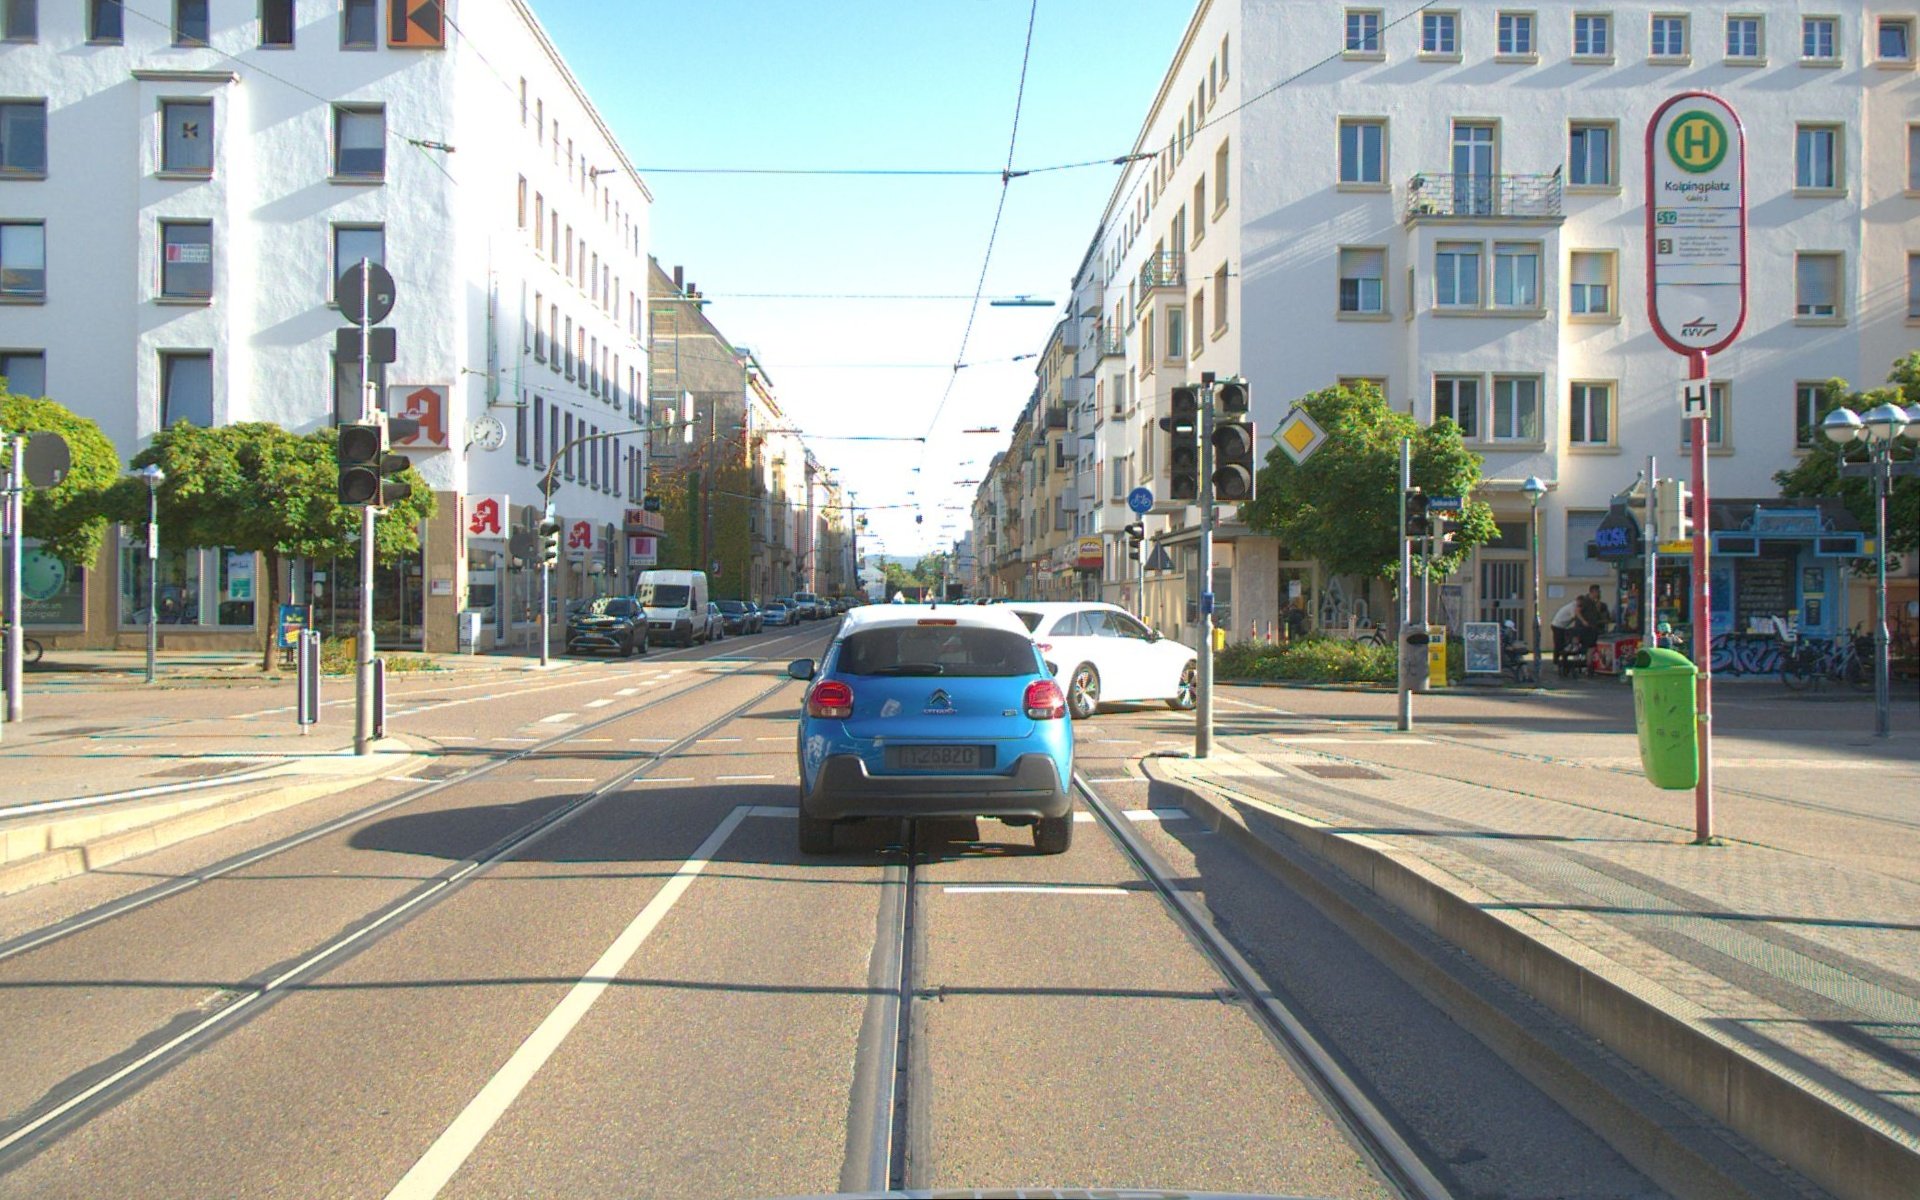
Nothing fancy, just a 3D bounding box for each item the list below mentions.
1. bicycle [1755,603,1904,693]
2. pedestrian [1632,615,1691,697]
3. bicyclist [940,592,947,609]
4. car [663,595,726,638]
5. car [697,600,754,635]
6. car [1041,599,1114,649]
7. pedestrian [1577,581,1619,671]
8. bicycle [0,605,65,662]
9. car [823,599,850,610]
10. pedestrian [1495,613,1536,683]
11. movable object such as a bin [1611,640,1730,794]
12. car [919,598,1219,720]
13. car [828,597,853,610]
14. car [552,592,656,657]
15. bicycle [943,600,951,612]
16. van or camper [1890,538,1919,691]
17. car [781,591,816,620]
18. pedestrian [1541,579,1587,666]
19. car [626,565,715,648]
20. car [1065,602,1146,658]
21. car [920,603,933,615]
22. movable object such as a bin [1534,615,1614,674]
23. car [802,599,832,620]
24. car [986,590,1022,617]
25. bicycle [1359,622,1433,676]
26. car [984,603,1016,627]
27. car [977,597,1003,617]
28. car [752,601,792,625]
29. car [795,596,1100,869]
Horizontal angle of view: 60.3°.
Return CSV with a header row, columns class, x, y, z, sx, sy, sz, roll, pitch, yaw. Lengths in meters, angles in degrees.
class,x,y,z,sx,sy,sz,roll,pitch,yaw
bicycle,15.961,0.869,30.381,2.336,1.558,0.726,2,0,-2
pedestrian,12.840,1.025,30.288,0.715,1.434,0.755,0,3,-1
bicyclist,-1.884,0.070,192.707,0.793,2.049,0.922,1,-1,0
car,-10.008,0.618,62.560,1.850,1.522,3.560,1,-1,-2
car,-10.058,0.766,71.245,1.953,1.422,4.155,1,-1,-2
car,3.593,0.725,51.061,1.953,1.490,4.000,0,0,0
pedestrian,13.364,0.544,34.646,0.639,1.871,0.659,0,0,2
bicycle,-20.563,0.716,36.029,0.605,1.211,2.621,0,0,2
car,-13.270,0.461,177.886,1.951,1.176,4.518,0,0,8
pedestrian,10.927,0.937,32.549,0.725,1.339,0.628,0,0,22
movable object such as a bin,3.832,0.621,8.940,0.439,0.800,0.489,0,0,2
car,1.633,0.748,22.755,1.950,1.490,4.799,0,-1,35
car,-10.594,0.288,147.320,1.953,1.176,4.000,0,0,0
car,-9.737,0.662,45.523,1.954,1.596,4.401,3,-1,-2
bicycle,-1.554,0.667,192.993,0.901,1.413,3.131,0,0,-1
van or camper,21.050,0.278,30.042,6.976,2.795,2.371,0,1,0
car,-11.660,0.422,119.869,1.965,2.049,4.689,1,-1,1
pedestrian,13.125,0.486,35.958,0.768,1.871,0.678,0,0,2
car,-9.694,0.208,55.888,2.043,2.586,6.203,1,0,-2
car,3.991,0.801,45.865,1.870,1.490,4.000,0,0,0
car,-5.052,1.360,250.635,1.953,1.803,3.999,0,0,-1
movable object such as a bin,12.496,0.896,33.717,1.174,1.173,1.217,0,0,0
car,-11.225,0.734,129.940,1.914,1.579,3.939,1,-1,1
car,2.522,0.211,95.655,1.953,1.490,4.504,0,0,0
bicycle,9.490,1.068,36.031,1.534,1.140,0.300,1,-1,10
car,2.525,0.923,104.987,1.953,1.490,4.000,0,0,0
car,2.282,0.505,126.541,1.953,1.490,4.000,0,0,0
car,-10.898,0.746,96.187,1.953,1.348,3.921,1,-1,-2
car,-0.100,0.753,11.242,1.693,1.508,3.826,1,0,-1
